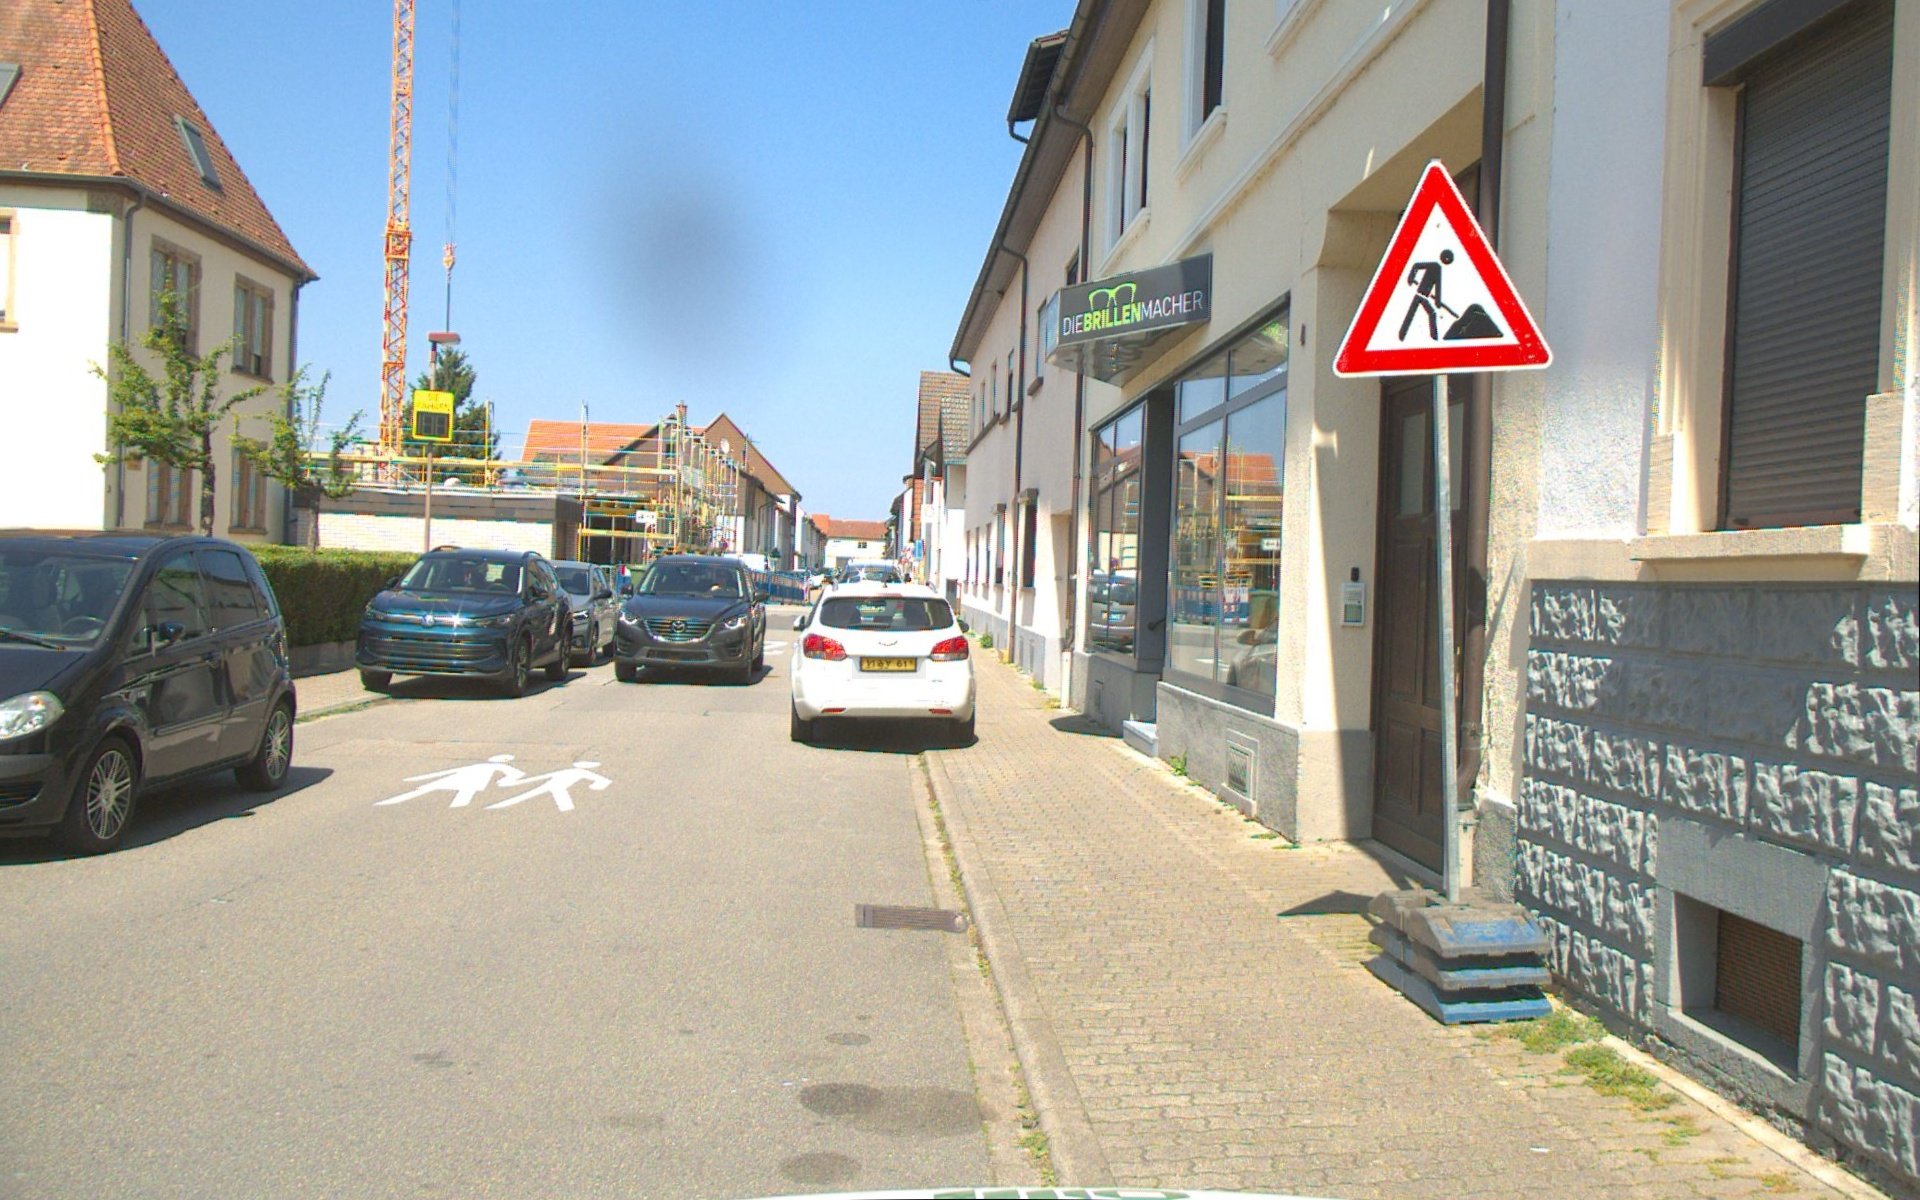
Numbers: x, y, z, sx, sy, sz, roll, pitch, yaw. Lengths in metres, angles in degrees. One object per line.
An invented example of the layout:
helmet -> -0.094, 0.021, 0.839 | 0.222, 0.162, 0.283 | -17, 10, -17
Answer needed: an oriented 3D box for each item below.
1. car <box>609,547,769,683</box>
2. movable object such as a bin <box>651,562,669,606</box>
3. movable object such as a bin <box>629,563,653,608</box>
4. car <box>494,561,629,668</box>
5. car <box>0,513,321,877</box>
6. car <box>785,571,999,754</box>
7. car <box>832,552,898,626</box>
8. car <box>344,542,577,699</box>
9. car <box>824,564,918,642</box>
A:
car -> -3.740, 0.158, 23.441 | 1.845, 1.697, 4.150 | 2, 1, -5
movable object such as a bin -> -8.200, -0.435, 45.211 | 0.424, 1.175, 0.363 | 2, 1, -13
movable object such as a bin -> -8.621, -0.404, 44.703 | 0.610, 1.175, 0.676 | 2, 1, -11
car -> -6.090, 0.190, 25.603 | 1.408, 1.500, 3.783 | 2, 1, -5
car -> -5.070, 0.369, 9.373 | 1.605, 1.657, 3.765 | 2, 1, -4
car -> -0.796, 0.522, 16.806 | 1.850, 1.568, 4.238 | 2, 1, -5
car -> -2.410, -0.312, 41.765 | 1.533, 1.640, 3.541 | 2, 3, -4
car -> -5.941, 0.191, 20.176 | 1.790, 1.659, 4.214 | 2, 1, -4
car -> -2.029, 0.020, 36.606 | 1.848, 1.583, 3.890 | -2, 1, -6
